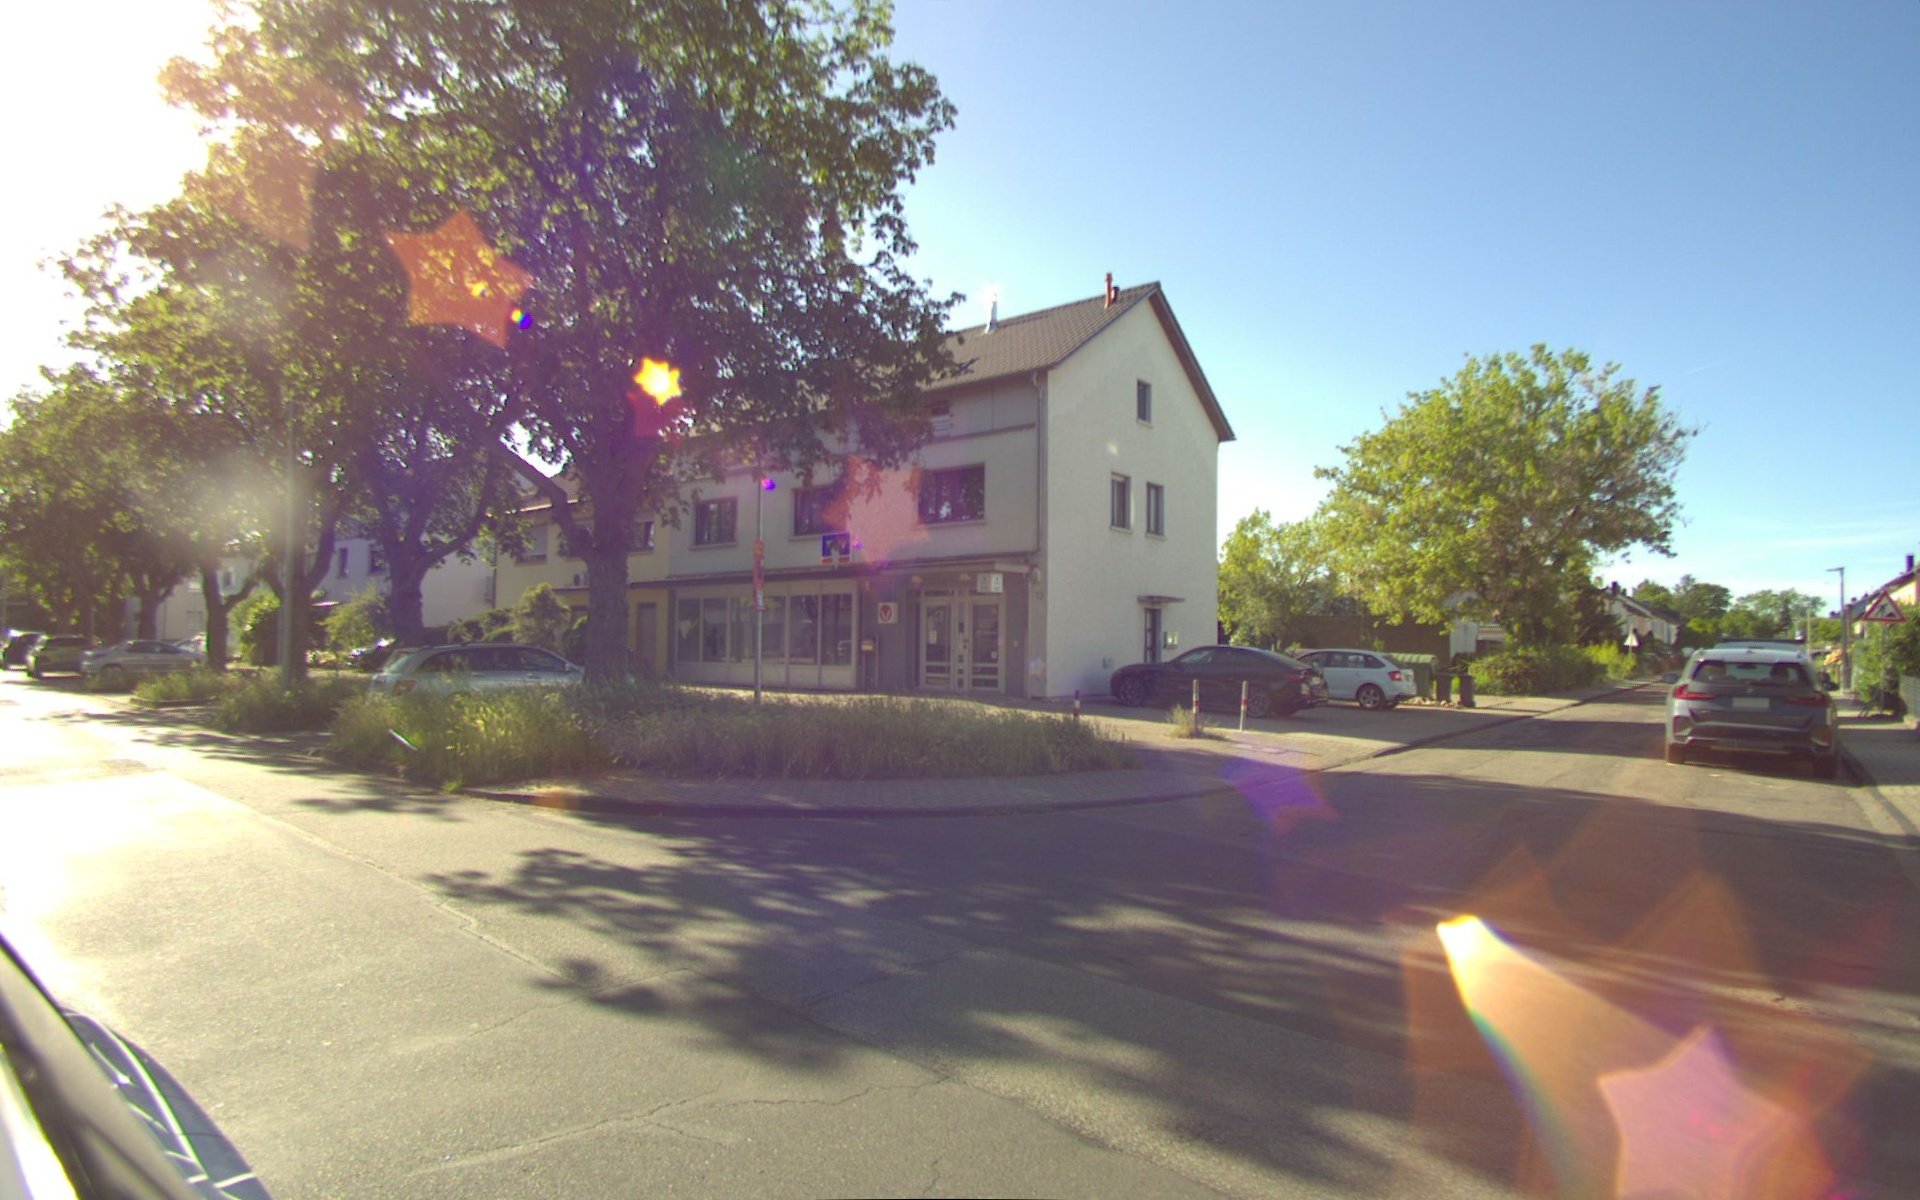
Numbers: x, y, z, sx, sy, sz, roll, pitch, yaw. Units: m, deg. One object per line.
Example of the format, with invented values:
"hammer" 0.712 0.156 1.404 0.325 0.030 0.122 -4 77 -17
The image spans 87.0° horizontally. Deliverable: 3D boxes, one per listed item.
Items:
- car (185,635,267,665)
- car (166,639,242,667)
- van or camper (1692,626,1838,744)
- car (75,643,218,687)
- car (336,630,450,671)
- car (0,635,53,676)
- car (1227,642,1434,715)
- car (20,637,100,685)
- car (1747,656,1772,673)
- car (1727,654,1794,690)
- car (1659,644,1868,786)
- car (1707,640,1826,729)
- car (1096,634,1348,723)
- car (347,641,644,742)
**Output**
"car" -47.465 3.216 65.459 1.999 1.696 3.945 -1 0 41
"car" -53.003 3.662 71.018 1.999 1.696 3.945 -1 0 41
"van or camper" 15.799 1.578 19.877 1.998 2.029 4.625 -1 -3 39
"car" -28.648 2.265 35.728 1.622 1.333 3.651 -1 -1 36
"car" -23.294 2.077 41.618 3.721 1.577 1.692 4 -4 -45
"car" -41.864 2.429 45.156 4.057 1.746 1.790 -2 -4 44
"car" 9.452 1.955 26.013 4.662 1.539 1.854 1 -2 38
"car" -33.453 2.220 37.595 3.696 1.551 1.971 -1 0 44
"car" 83.218 6.717 105.281 1.840 1.593 3.961 0 -1 41
"car" 36.047 3.214 45.695 1.995 1.496 4.852 -1 -3 34
"car" 11.029 1.490 14.125 1.996 1.650 3.951 -1 -4 36
"car" 18.726 1.875 23.668 1.996 1.844 3.950 -1 -2 37
"car" 5.606 1.617 21.978 4.902 1.575 1.975 1 -2 38
"car" -8.045 1.498 17.832 1.999 1.427 4.335 -1 -1 41
